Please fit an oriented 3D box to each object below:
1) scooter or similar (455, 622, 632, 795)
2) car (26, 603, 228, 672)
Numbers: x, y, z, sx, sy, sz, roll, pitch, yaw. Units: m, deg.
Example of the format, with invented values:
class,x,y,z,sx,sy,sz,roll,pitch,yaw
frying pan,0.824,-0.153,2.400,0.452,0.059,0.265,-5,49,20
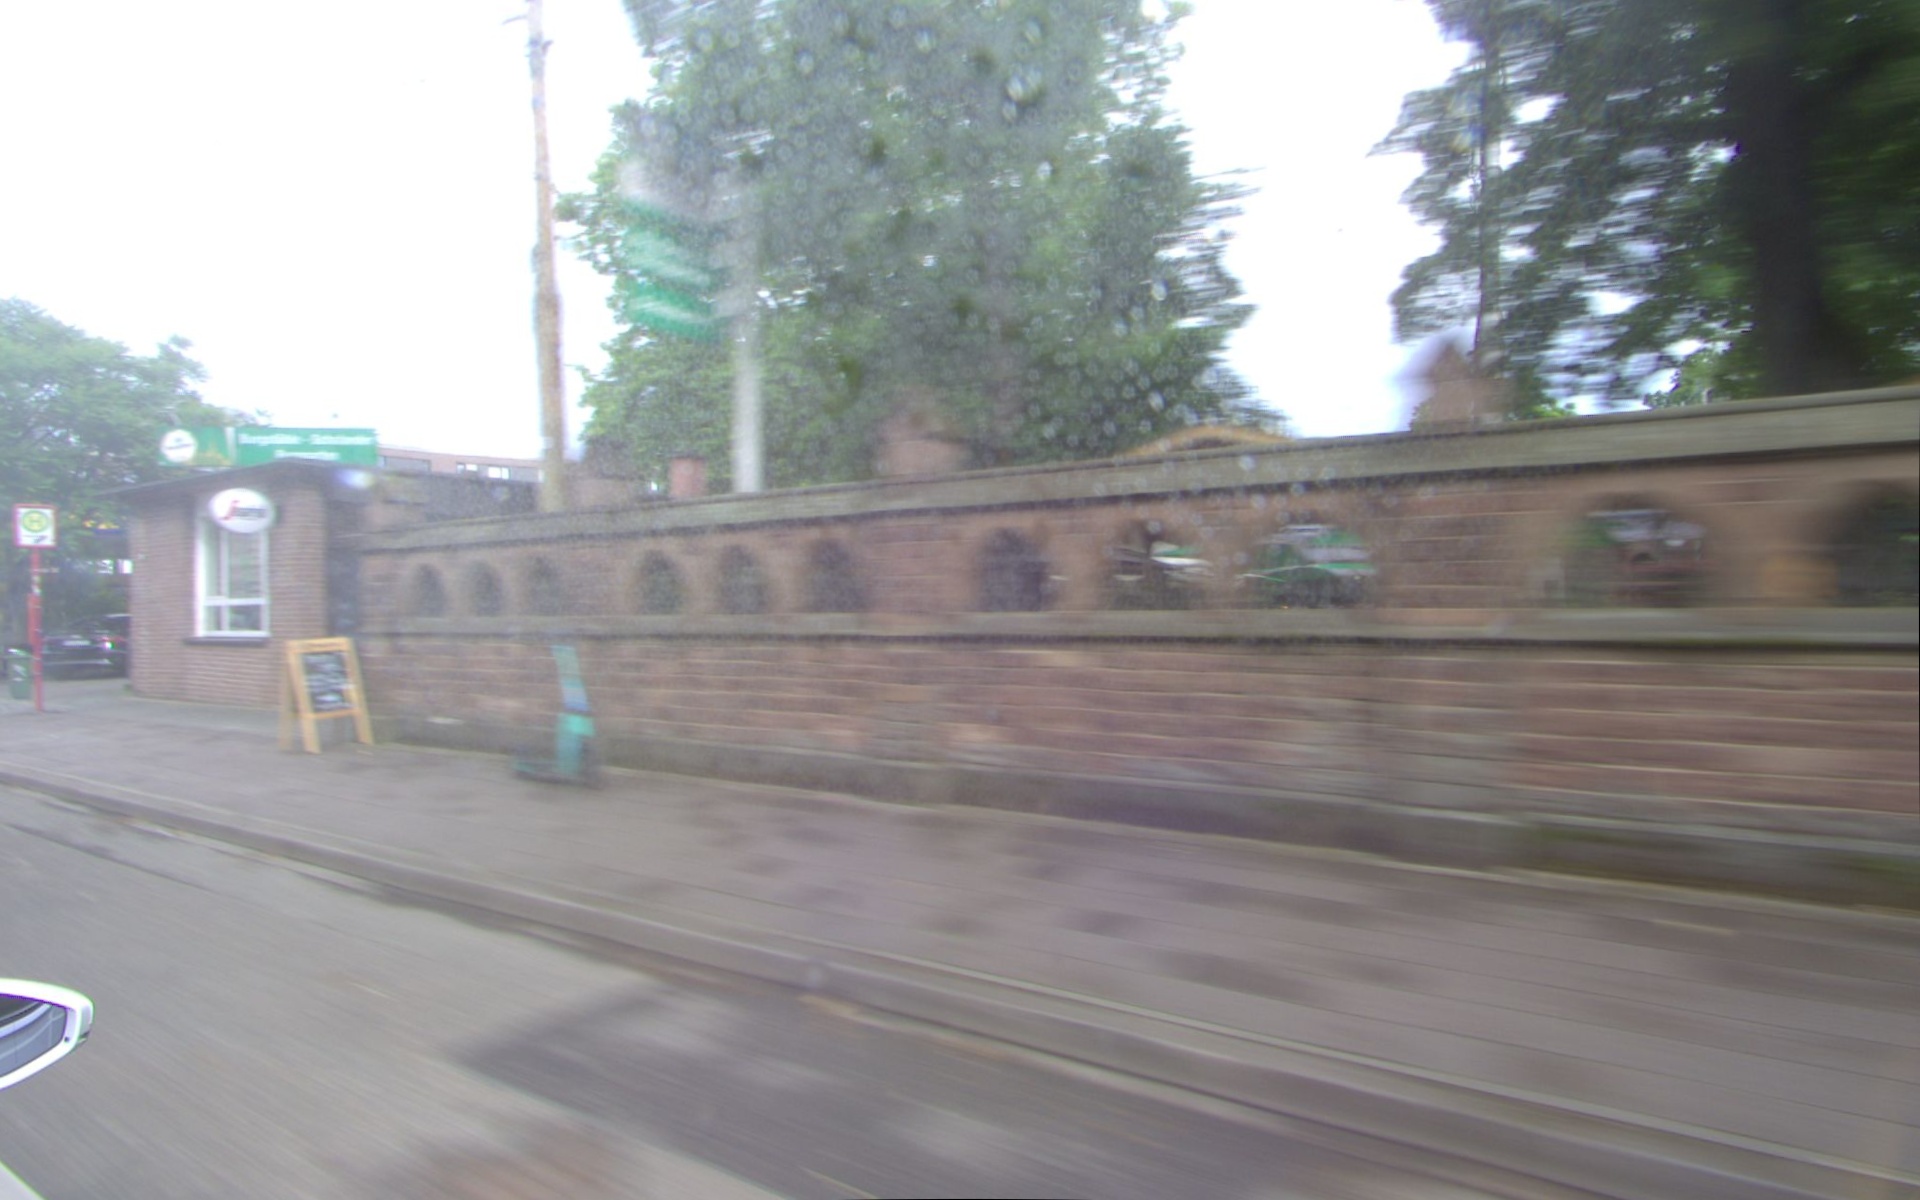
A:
class,x,y,z,sx,sy,sz,roll,pitch,yaw
scooter or similar,-3.359,0.822,8.053,1.390,1.256,0.575,0,3,33
car,-19.926,0.824,24.248,1.900,1.426,4.577,0,1,-14
